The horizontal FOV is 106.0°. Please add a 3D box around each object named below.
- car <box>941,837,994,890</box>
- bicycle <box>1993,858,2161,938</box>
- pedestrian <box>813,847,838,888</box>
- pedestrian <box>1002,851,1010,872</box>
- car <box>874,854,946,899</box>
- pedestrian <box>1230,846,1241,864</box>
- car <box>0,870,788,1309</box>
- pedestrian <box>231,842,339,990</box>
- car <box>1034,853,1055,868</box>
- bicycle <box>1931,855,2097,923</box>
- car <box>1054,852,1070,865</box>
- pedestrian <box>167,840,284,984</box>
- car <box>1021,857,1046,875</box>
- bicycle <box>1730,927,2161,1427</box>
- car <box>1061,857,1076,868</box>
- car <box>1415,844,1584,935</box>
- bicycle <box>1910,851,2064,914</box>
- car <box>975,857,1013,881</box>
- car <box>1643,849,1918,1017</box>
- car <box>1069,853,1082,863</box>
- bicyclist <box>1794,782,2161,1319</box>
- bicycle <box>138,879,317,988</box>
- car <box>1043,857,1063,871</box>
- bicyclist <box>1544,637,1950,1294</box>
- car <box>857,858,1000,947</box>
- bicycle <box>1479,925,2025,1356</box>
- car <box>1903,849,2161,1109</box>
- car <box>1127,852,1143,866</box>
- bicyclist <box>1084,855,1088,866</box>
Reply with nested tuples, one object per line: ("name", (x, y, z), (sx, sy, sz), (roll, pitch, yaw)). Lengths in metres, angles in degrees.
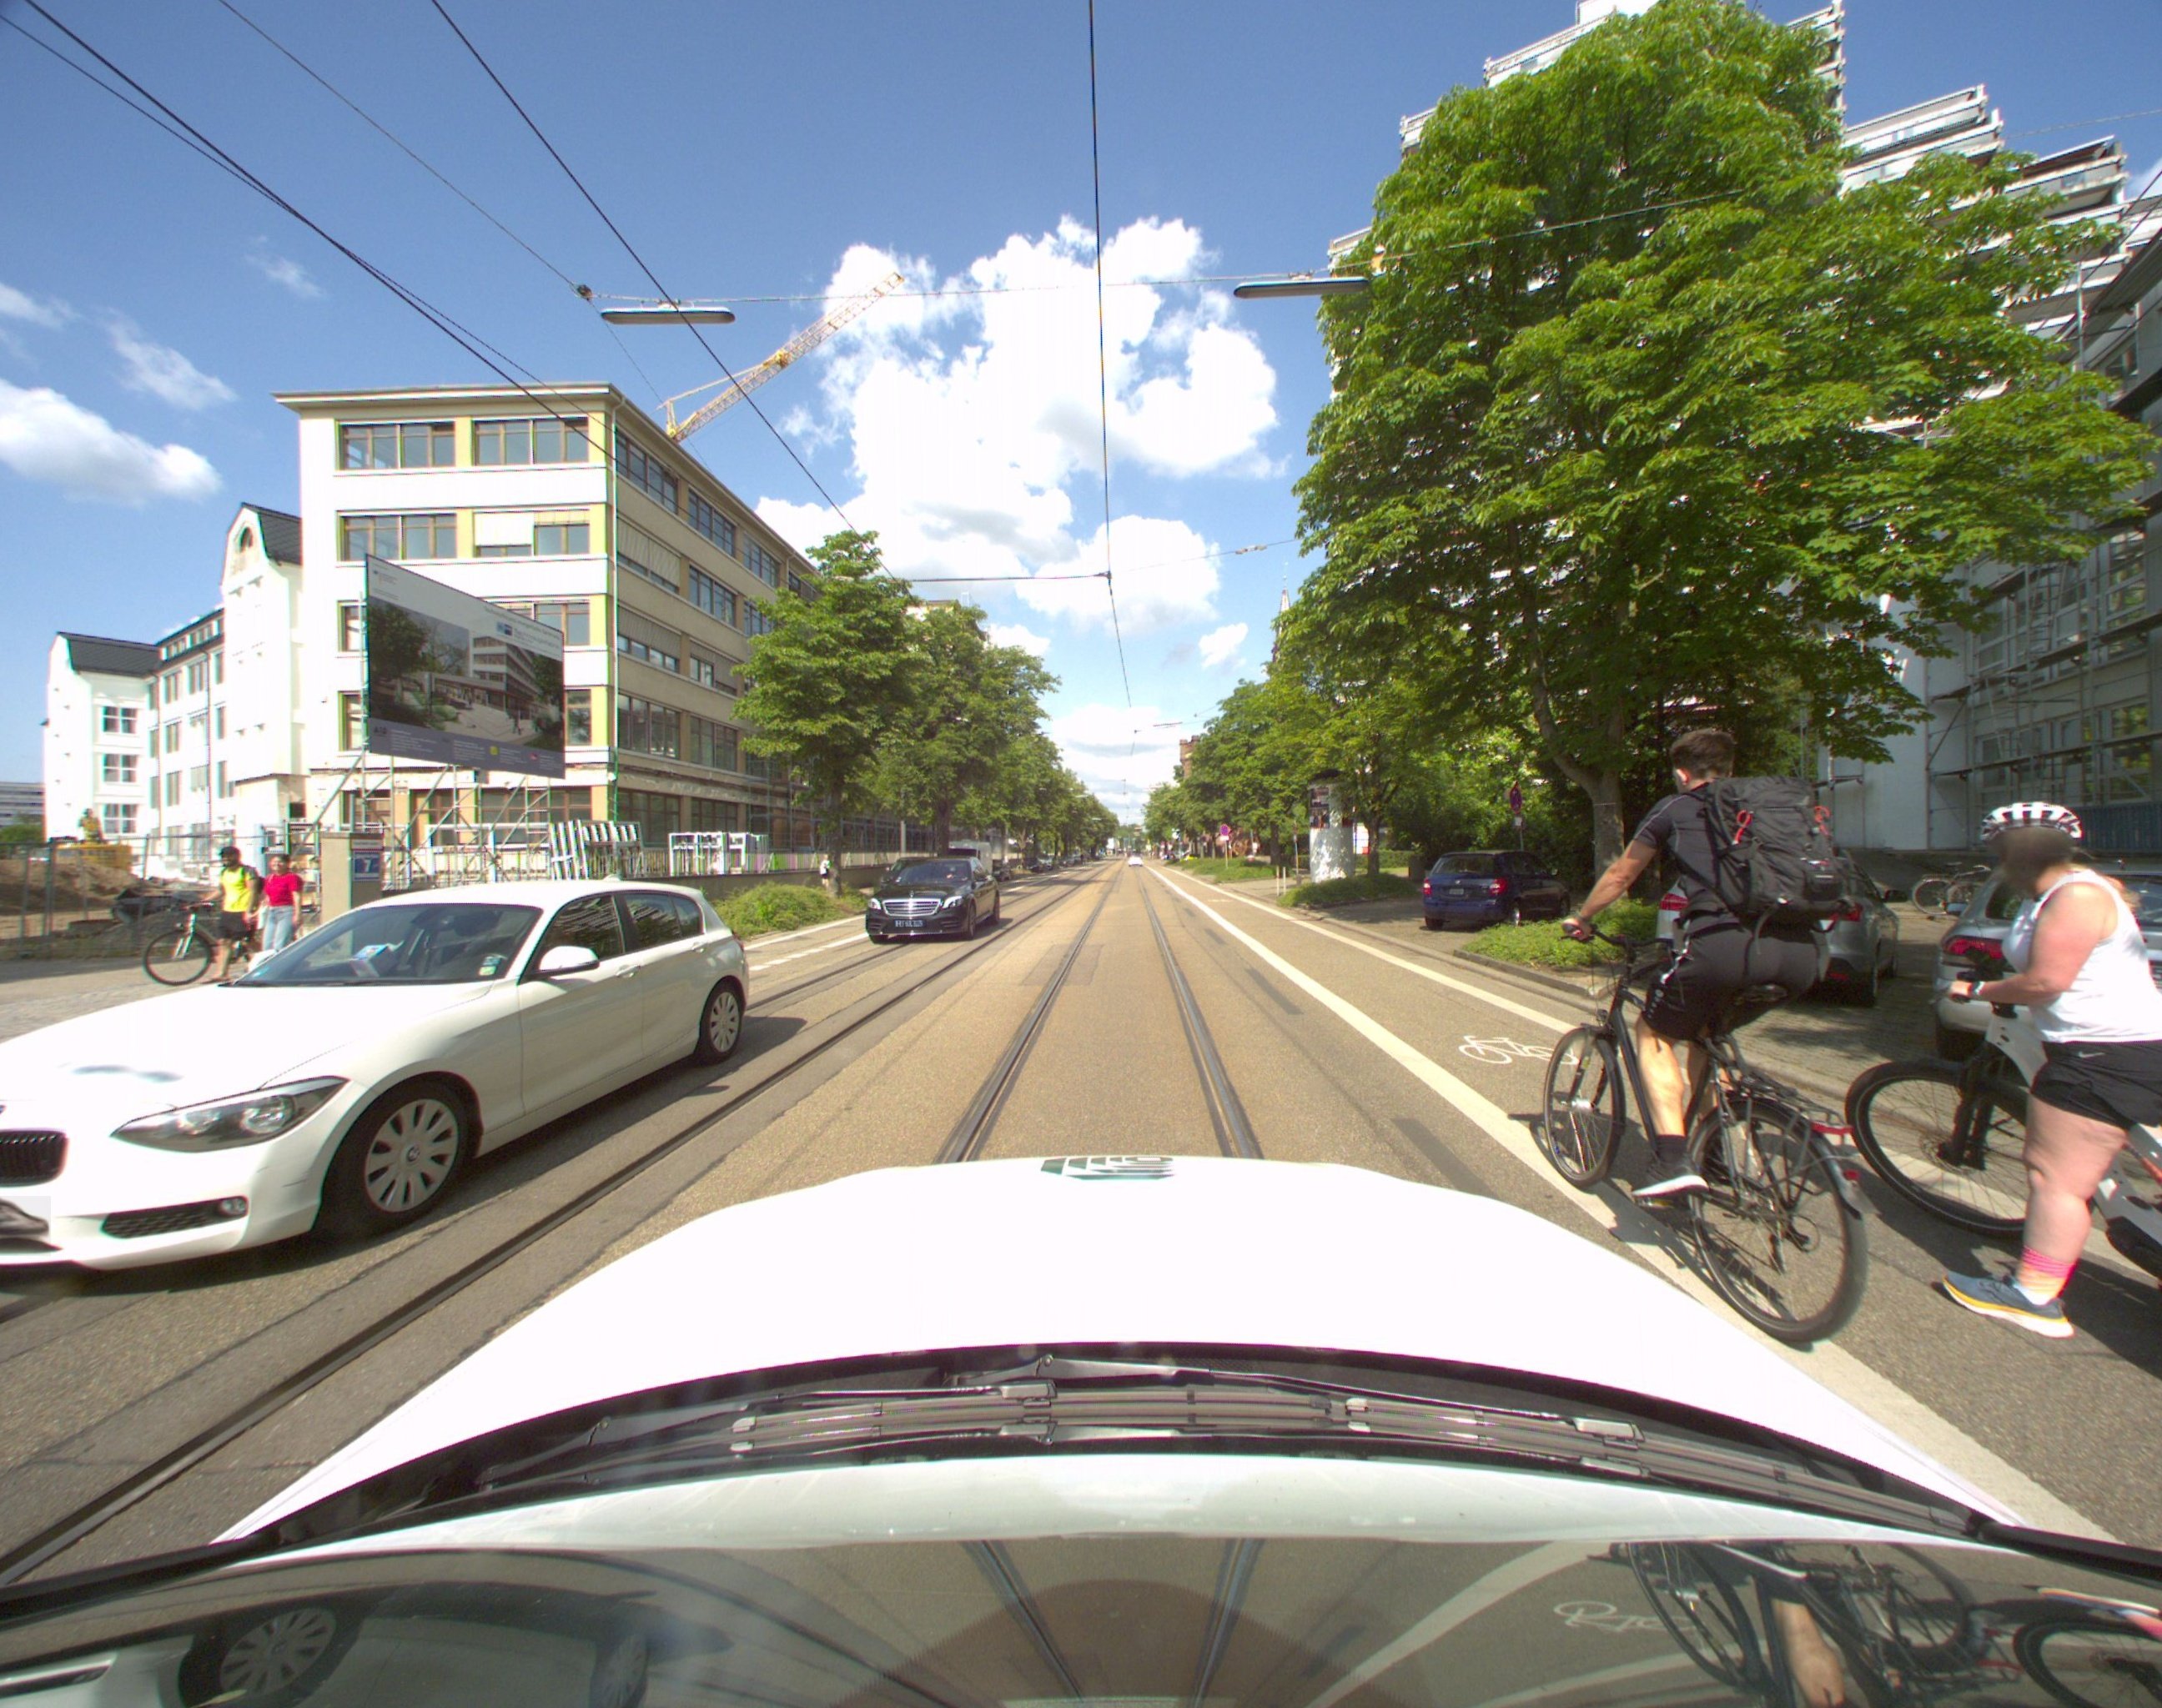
("car", (-5.994, 0.509, 43.576), (1.762, 2.639, 5.326), (1, 0, 3))
("bicycle", (14.766, 0.642, 11.921), (1.809, 1.095, 0.454), (-2, 2, 34))
("pedestrian", (-10.180, 0.528, 32.455), (0.761, 1.620, 0.594), (1, -1, 3))
("pedestrian", (-7.395, 0.758, 80.528), (0.802, 2.013, 0.484), (-1, 0, -6))
("car", (-6.832, 0.860, 32.919), (1.797, 1.662, 4.106), (1, 0, 3))
("pedestrian", (17.105, 0.121, 90.043), (0.973, 2.014, 1.094), (1, -1, 2))
("car", (-3.489, 0.835, 4.844), (1.679, 1.405, 4.231), (-1, -1, 4))
("pedestrian", (-10.353, 0.781, 10.609), (0.705, 1.831, 0.661), (2, 1, -3))
("car", (-3.746, 0.622, 83.904), (1.797, 1.516, 4.106), (-1, 0, 3))
("bicycle", (15.929, 0.574, 13.963), (1.809, 1.096, 0.454), (-1, 1, 34))
("car", (-2.474, 0.570, 106.131), (1.797, 1.516, 4.106), (-1, 0, 3))
("pedestrian", (-11.126, 0.741, 10.616), (0.705, 1.793, 0.661), (2, -1, -3))
("car", (-4.219, 1.034, 73.332), (1.797, 1.516, 4.106), (1, 0, 3))
("bicycle", (3.340, 0.914, 2.731), (0.869, 1.126, 2.141), (-1, 0, 9))
("car", (-1.766, 1.232, 118.564), (1.797, 1.516, 4.106), (1, 0, 3))
("car", (8.186, 0.606, 15.786), (4.022, 1.486, 1.596), (-2, 0, -43))
("bicycle", (16.586, 0.514, 14.967), (1.809, 1.096, 0.454), (-1, 0, 34))
("car", (-5.637, 0.942, 53.053), (1.797, 1.516, 4.106), (1, 0, 3))
("car", (7.886, 0.696, 9.073), (3.824, 1.474, 1.634), (0, 1, -39))
("car", (-0.912, 0.628, 129.837), (1.797, 1.516, 4.106), (-1, 0, 3))
("bicyclist", (3.359, 0.564, 2.834), (0.884, 1.529, 1.088), (1, 0, 9))
("bicycle", (-11.370, 1.013, 10.937), (0.444, 1.286, 1.741), (-1, 0, 5))
("car", (-3.116, 1.114, 91.589), (1.797, 1.516, 4.106), (1, 0, 3))
("bicyclist", (2.306, 0.327, 2.992), (0.604, 1.948, 1.131), (1, 0, 3))
("car", (-2.841, 0.835, 16.206), (1.793, 1.508, 4.539), (0, 0, 2))
("bicycle", (2.320, 0.882, 3.200), (0.613, 1.045, 1.837), (-4, -2, 3))
("car", (7.716, 0.697, 5.964), (4.261, 1.420, 1.705), (-1, 1, -35))
("car", (6.382, 0.614, 97.114), (1.660, 1.624, 3.621), (-1, 0, 0))
("bicyclist", (0.742, 1.000, 123.943), (0.656, 1.579, 0.946), (1, 0, 2))
